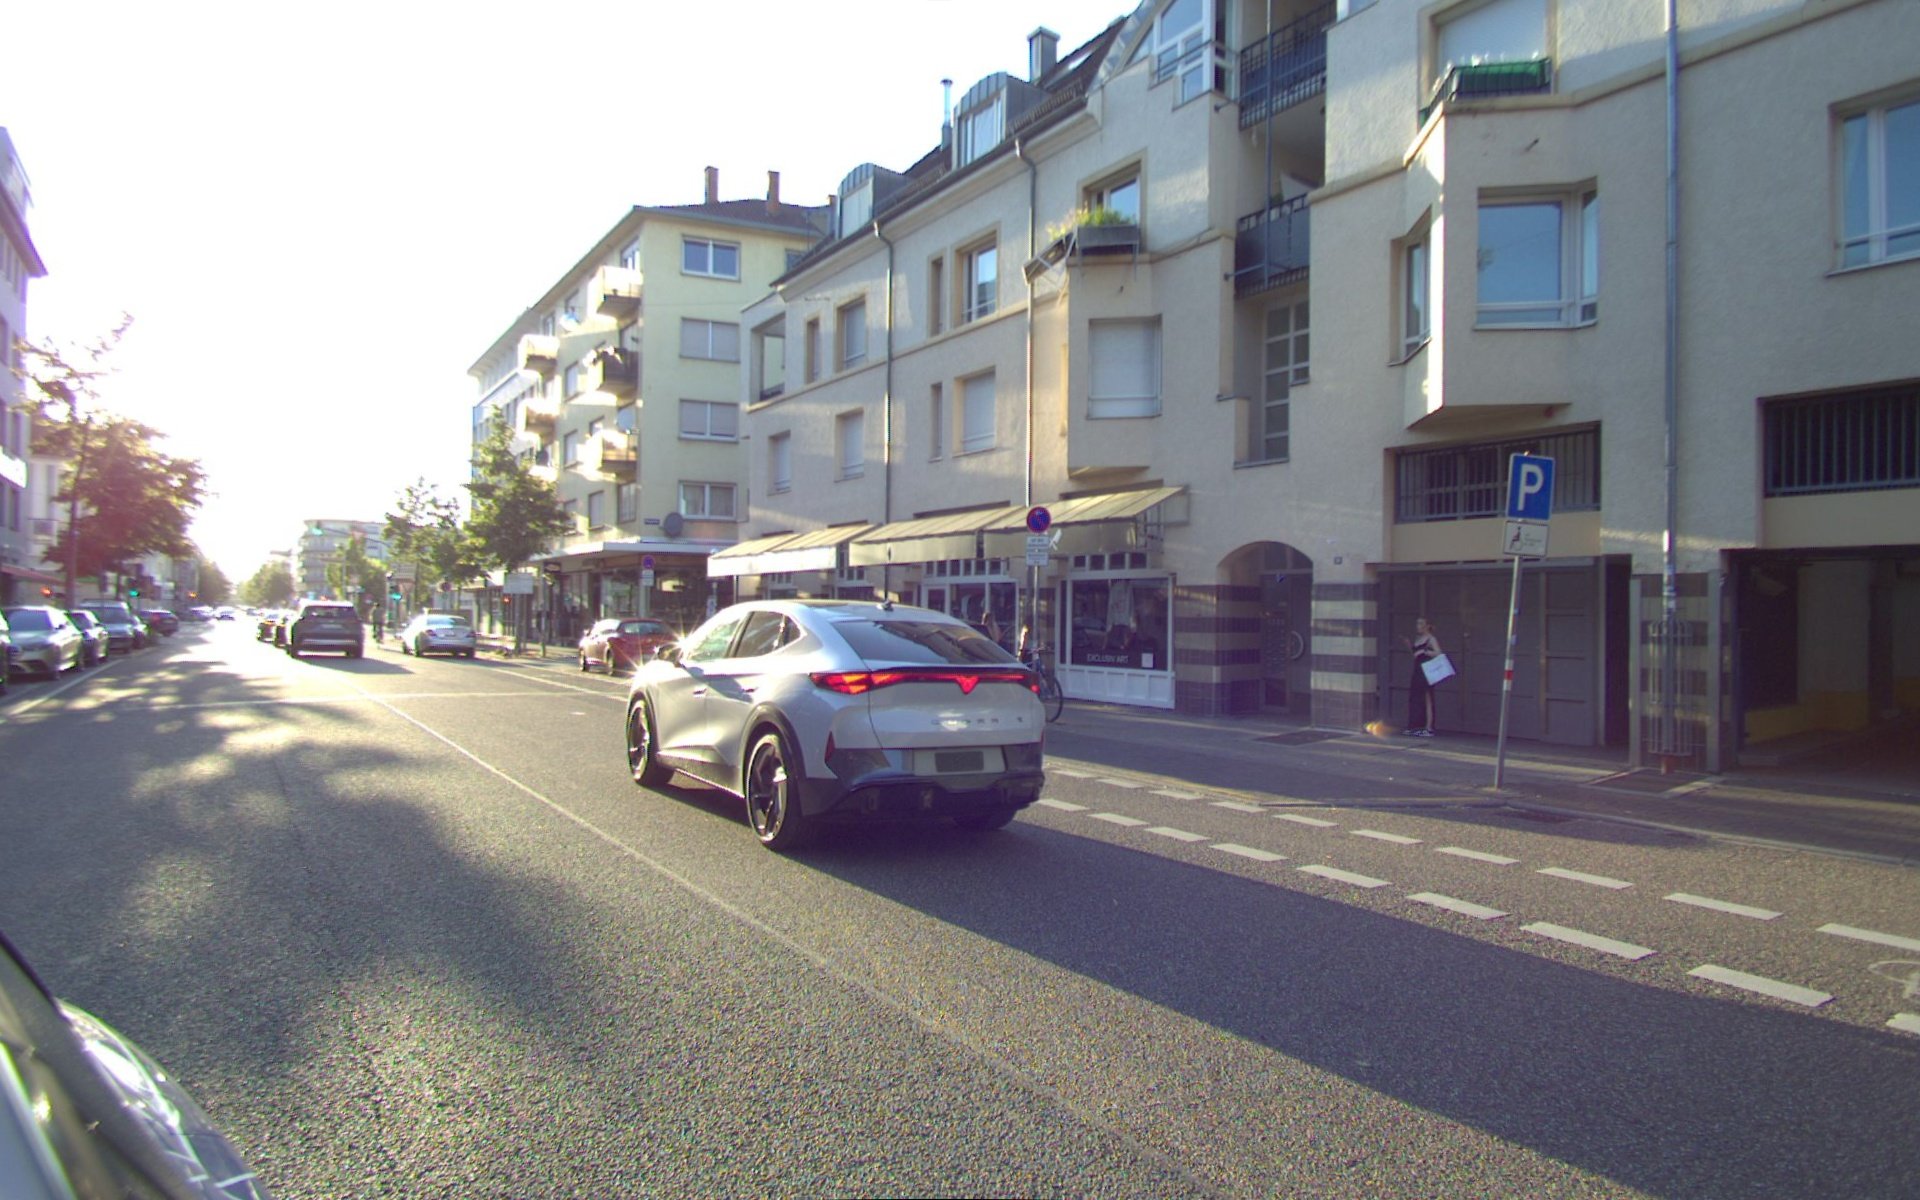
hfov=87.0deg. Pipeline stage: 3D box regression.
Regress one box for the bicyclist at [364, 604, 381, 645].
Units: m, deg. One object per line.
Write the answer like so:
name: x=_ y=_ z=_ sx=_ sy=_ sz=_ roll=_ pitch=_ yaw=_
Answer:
bicyclist: x=-23.609 y=0.982 z=40.684 sx=0.539 sy=1.593 sz=0.805 roll=1 pitch=-1 yaw=-33

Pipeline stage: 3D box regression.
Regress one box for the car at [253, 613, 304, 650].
car: x=-32.843 y=1.490 z=48.725 sx=1.814 sy=1.661 sz=4.310 roll=4 pitch=-3 yaw=-36

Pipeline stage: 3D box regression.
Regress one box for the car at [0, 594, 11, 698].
car: x=-16.517 y=0.780 z=15.823 sx=1.968 sy=1.790 sz=5.330 roll=0 pitch=-1 yaw=-38

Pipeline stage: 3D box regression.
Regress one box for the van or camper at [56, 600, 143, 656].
van or camper: x=-29.096 y=0.925 z=34.342 sx=1.764 sy=1.787 sz=4.569 roll=2 pitch=-1 yaw=-34

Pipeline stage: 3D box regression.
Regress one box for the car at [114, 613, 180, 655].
car: x=-31.463 y=1.294 z=39.239 sx=1.667 sy=1.514 sz=3.797 roll=2 pitch=-1 yaw=-35

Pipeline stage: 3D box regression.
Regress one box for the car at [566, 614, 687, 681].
car: x=-8.718 y=1.179 z=26.282 sx=1.766 sy=1.592 sz=3.795 roll=2 pitch=-1 yaw=-38

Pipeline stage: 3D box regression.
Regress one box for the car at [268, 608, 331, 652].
car: x=-26.723 y=1.180 z=40.907 sx=1.814 sy=1.661 sz=4.310 roll=4 pitch=-3 yaw=-36

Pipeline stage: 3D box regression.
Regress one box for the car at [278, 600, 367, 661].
car: x=-19.341 y=0.904 z=30.626 sx=1.814 sy=1.661 sz=4.310 roll=4 pitch=-3 yaw=-37

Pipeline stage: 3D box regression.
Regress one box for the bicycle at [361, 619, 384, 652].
bicycle: x=-23.691 y=1.422 z=40.793 sx=0.654 sy=1.252 sz=2.136 roll=4 pitch=-3 yaw=-33

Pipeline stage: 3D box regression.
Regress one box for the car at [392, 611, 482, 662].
car: x=-17.875 y=1.209 z=34.479 sx=1.967 sy=1.617 sz=4.414 roll=3 pitch=-2 yaw=-37

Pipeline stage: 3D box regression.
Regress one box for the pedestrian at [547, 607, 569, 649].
pedestrian: x=-17.466 y=1.207 z=43.967 sx=0.708 sy=1.805 sz=0.668 roll=1 pitch=-1 yaw=-36

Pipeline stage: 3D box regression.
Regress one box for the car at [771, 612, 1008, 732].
car: x=-1.218 y=1.012 z=15.797 sx=1.766 sy=1.592 sz=3.975 roll=2 pitch=-1 yaw=-38

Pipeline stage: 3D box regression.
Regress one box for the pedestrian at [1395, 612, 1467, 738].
pedestrian: x=6.132 y=0.961 z=13.200 sx=0.526 sy=1.584 sz=0.779 roll=1 pitch=-1 yaw=-3

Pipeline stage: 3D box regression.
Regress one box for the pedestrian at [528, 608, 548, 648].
pedestrian: x=-18.963 y=1.246 z=45.467 sx=0.708 sy=1.805 sz=0.668 roll=1 pitch=-1 yaw=-36

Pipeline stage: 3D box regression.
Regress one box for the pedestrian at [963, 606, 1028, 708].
pedestrian: x=0.614 y=0.974 z=17.668 sx=0.622 sy=1.713 sz=1.042 roll=1 pitch=-1 yaw=-37

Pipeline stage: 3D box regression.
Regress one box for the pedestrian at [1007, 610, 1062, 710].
pedestrian: x=1.315 y=1.036 z=17.846 sx=0.552 sy=1.713 sz=0.833 roll=1 pitch=-1 yaw=-37

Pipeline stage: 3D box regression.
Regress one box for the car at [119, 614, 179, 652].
car: x=-34.462 y=1.364 z=43.070 sx=1.667 sy=1.514 sz=3.797 roll=2 pitch=-1 yaw=-35

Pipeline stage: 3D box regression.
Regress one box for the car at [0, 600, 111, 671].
car: x=-23.495 y=0.874 z=26.249 sx=1.967 sy=1.667 sz=4.490 roll=2 pitch=-1 yaw=-37

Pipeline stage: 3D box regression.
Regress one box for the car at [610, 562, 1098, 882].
car: x=-1.111 y=0.718 z=7.754 sx=1.847 sy=1.710 sz=4.332 roll=4 pitch=-3 yaw=-34

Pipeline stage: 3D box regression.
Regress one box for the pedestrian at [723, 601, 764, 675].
pedestrian: x=-5.218 y=0.911 z=24.363 sx=0.708 sy=1.747 sz=0.739 roll=1 pitch=-1 yaw=-36

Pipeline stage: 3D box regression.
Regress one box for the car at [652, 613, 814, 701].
car: x=-4.710 y=1.091 z=20.665 sx=1.766 sy=1.592 sz=3.795 roll=2 pitch=-1 yaw=-38

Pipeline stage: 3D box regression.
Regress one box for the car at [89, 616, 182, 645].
car: x=-45.597 y=1.680 z=56.001 sx=3.975 sy=1.445 sz=1.502 roll=2 pitch=-2 yaw=4

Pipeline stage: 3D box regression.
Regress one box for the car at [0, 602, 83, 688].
car: x=-20.029 y=0.885 z=21.262 sx=1.967 sy=1.667 sz=4.639 roll=0 pitch=-1 yaw=-35

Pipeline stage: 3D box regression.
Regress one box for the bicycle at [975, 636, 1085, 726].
bicycle: x=1.018 y=1.179 z=15.281 sx=0.551 sy=1.215 sz=1.983 roll=2 pitch=-1 yaw=-34
